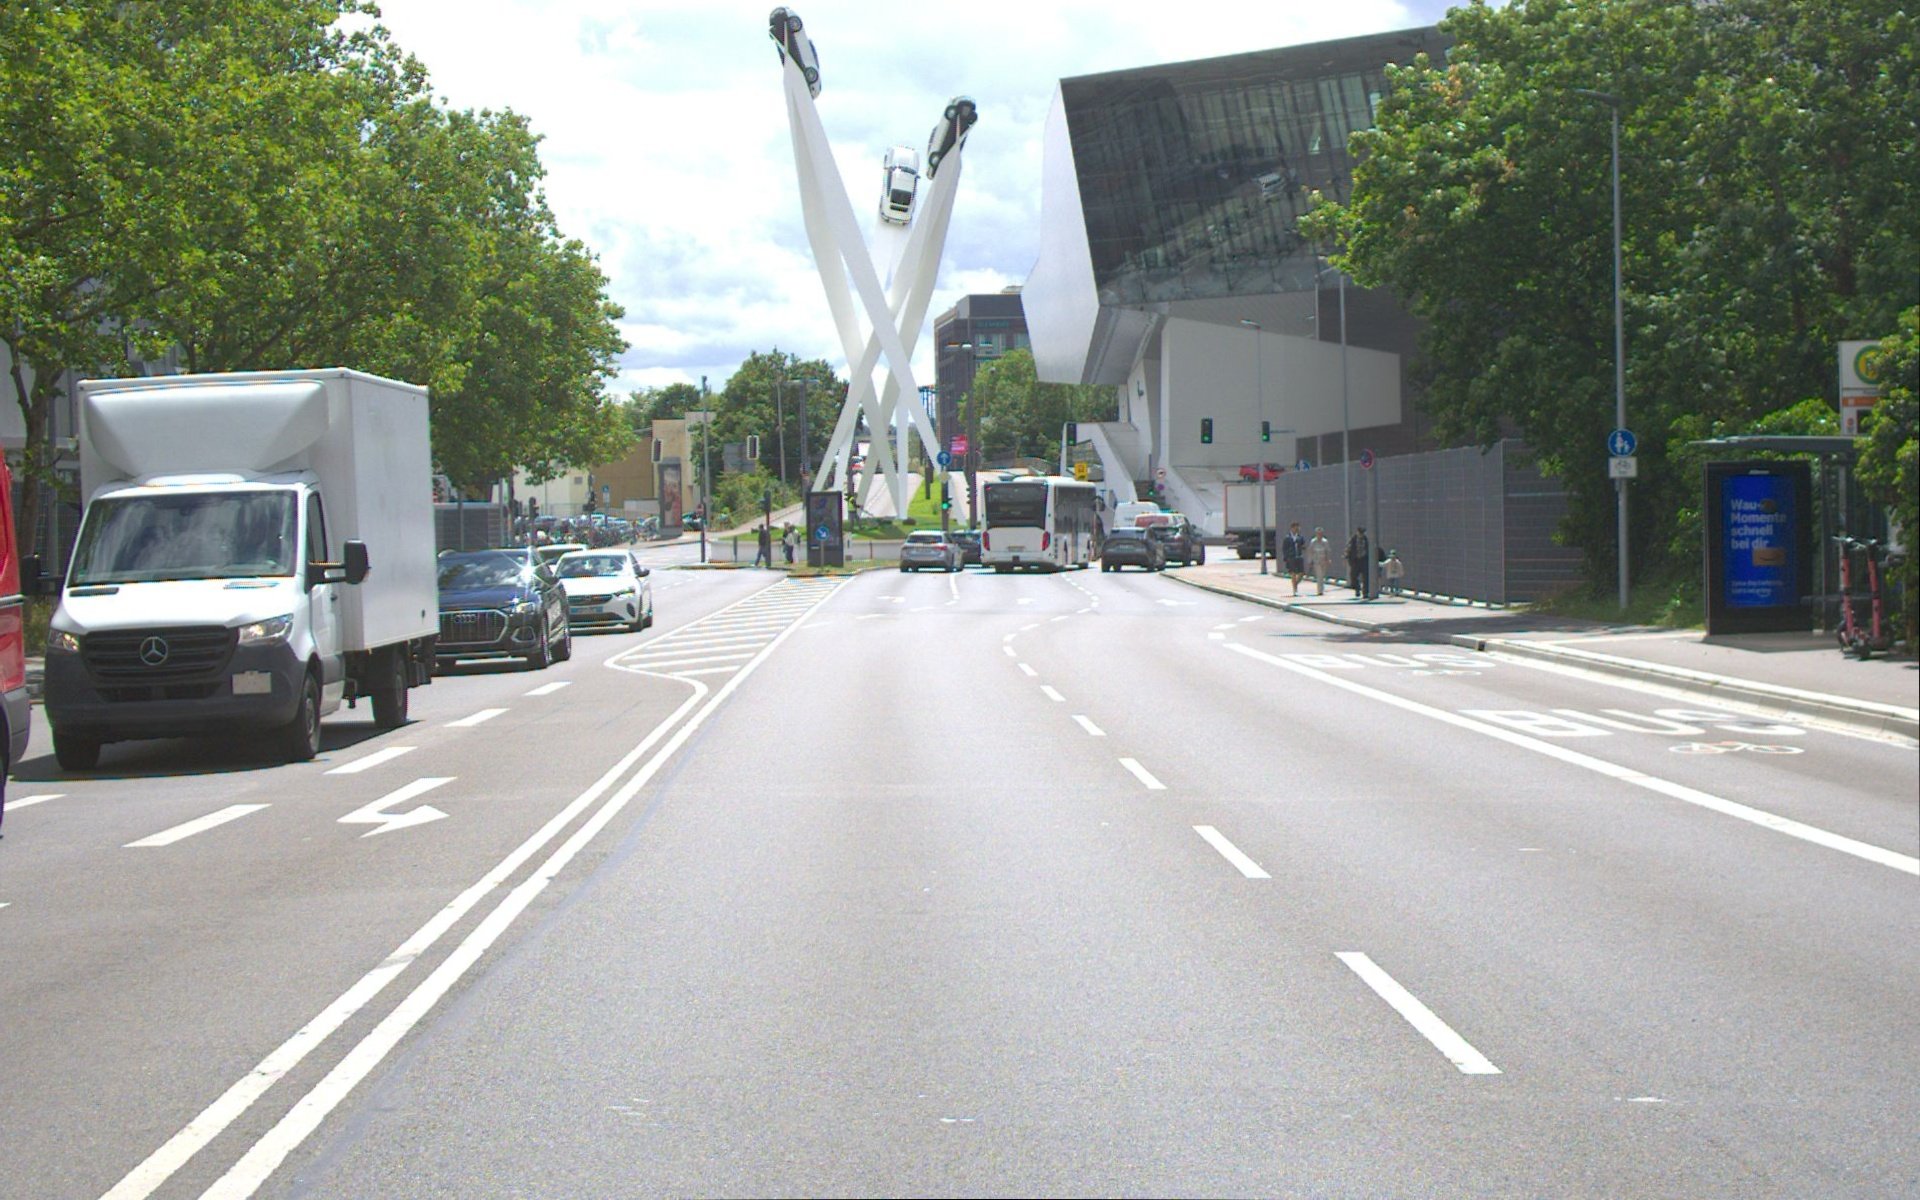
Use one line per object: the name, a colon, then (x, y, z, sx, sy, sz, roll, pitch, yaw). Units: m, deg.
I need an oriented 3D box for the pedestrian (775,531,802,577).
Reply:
pedestrian: (-6.655, -1.768, 133.186, 0.863, 1.767, 1.036, 0, 0, -14)

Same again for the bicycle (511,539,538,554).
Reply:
bicycle: (-25.089, -3.066, 198.230, 1.609, 0.863, 0.492, 1, 0, 34)

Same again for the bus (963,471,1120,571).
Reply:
bus: (3.054, -2.741, 123.075, 3.074, 3.350, 12.215, 1, 0, 14)

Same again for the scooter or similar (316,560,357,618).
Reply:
scooter or similar: (-13.906, -0.255, 76.691, 0.523, 1.230, 1.317, 3, 2, 6)

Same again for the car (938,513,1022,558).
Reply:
car: (0.768, -2.403, 129.422, 1.995, 1.631, 3.996, 1, 0, 18)

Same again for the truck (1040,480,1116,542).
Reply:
truck: (5.019, -3.736, 145.121, 2.208, 2.507, 5.130, 1, 0, 13)

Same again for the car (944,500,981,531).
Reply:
car: (0.135, -4.803, 195.554, 1.993, 1.630, 4.656, 0, 3, 1)

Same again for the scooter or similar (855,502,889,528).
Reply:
scooter or similar: (-3.947, -3.809, 154.344, 1.400, 1.022, 0.550, -5, 7, -20)

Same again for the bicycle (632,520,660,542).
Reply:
bicycle: (-18.665, -4.100, 204.520, 1.605, 1.312, 0.493, 0, 0, -1)

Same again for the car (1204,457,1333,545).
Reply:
car: (13.110, -4.138, 145.309, 3.338, 3.492, 9.333, 1, 0, 19)

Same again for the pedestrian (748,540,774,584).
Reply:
pedestrian: (-7.963, -1.515, 137.353, 0.863, 1.767, 1.036, 0, 0, -14)

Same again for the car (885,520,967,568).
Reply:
car: (-1.171, -1.925, 119.601, 1.995, 1.631, 3.998, 1, 0, 13)

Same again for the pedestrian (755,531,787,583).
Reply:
pedestrian: (-7.456, -1.697, 135.839, 0.953, 2.048, 0.950, 1, 0, 19)

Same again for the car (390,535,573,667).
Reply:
car: (-6.252, -0.019, 45.325, 1.740, 1.575, 4.267, -3, 1, 0)

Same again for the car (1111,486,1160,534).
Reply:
car: (8.173, -4.168, 159.753, 1.994, 2.163, 4.654, 0, 0, 6)

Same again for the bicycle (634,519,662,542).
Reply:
bicycle: (-18.708, -4.179, 205.971, 1.605, 1.378, 0.493, 0, 0, -1)

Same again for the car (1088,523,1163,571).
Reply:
car: (5.871, -1.886, 121.879, 1.995, 1.631, 3.998, 1, 2, 13)

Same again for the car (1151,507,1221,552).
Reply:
car: (8.525, -2.649, 129.419, 1.995, 1.631, 3.998, 1, 0, 13)

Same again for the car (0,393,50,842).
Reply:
car: (-6.379, 0.158, 17.272, 2.063, 2.498, 5.480, -2, 1, 0)

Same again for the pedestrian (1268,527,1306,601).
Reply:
pedestrian: (7.644, -0.841, 80.335, 0.794, 1.715, 0.732, 0, 0, -1)

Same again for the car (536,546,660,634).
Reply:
car: (-6.324, -0.199, 60.423, 1.691, 1.410, 4.146, -3, 1, 0)

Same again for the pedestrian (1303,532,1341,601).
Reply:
pedestrian: (8.456, -0.780, 80.344, 0.794, 1.591, 0.732, 0, 0, -1)

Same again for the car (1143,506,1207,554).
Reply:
car: (8.932, -2.899, 142.566, 1.995, 1.926, 4.238, 1, 0, 13)

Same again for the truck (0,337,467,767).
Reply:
truck: (-6.021, -0.411, 29.120, 2.452, 3.118, 7.243, -2, 1, 1)

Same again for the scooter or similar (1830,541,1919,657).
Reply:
scooter or similar: (9.720, -0.021, 36.478, 0.542, 1.159, 1.789, -1, 1, 27)

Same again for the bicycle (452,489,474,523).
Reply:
bicycle: (-15.473, -2.922, 106.986, 0.296, 1.002, 1.251, 0, 0, 10)

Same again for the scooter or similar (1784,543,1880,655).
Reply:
scooter or similar: (9.574, -0.023, 37.695, 0.542, 1.159, 2.124, -1, 1, 27)

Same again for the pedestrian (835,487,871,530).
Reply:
pedestrian: (-4.782, -4.109, 154.091, 1.281, 1.810, 0.987, -5, 5, -17)

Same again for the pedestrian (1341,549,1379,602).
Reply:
pedestrian: (8.735, -0.540, 75.120, 0.757, 1.145, 0.971, 0, 0, 3)
